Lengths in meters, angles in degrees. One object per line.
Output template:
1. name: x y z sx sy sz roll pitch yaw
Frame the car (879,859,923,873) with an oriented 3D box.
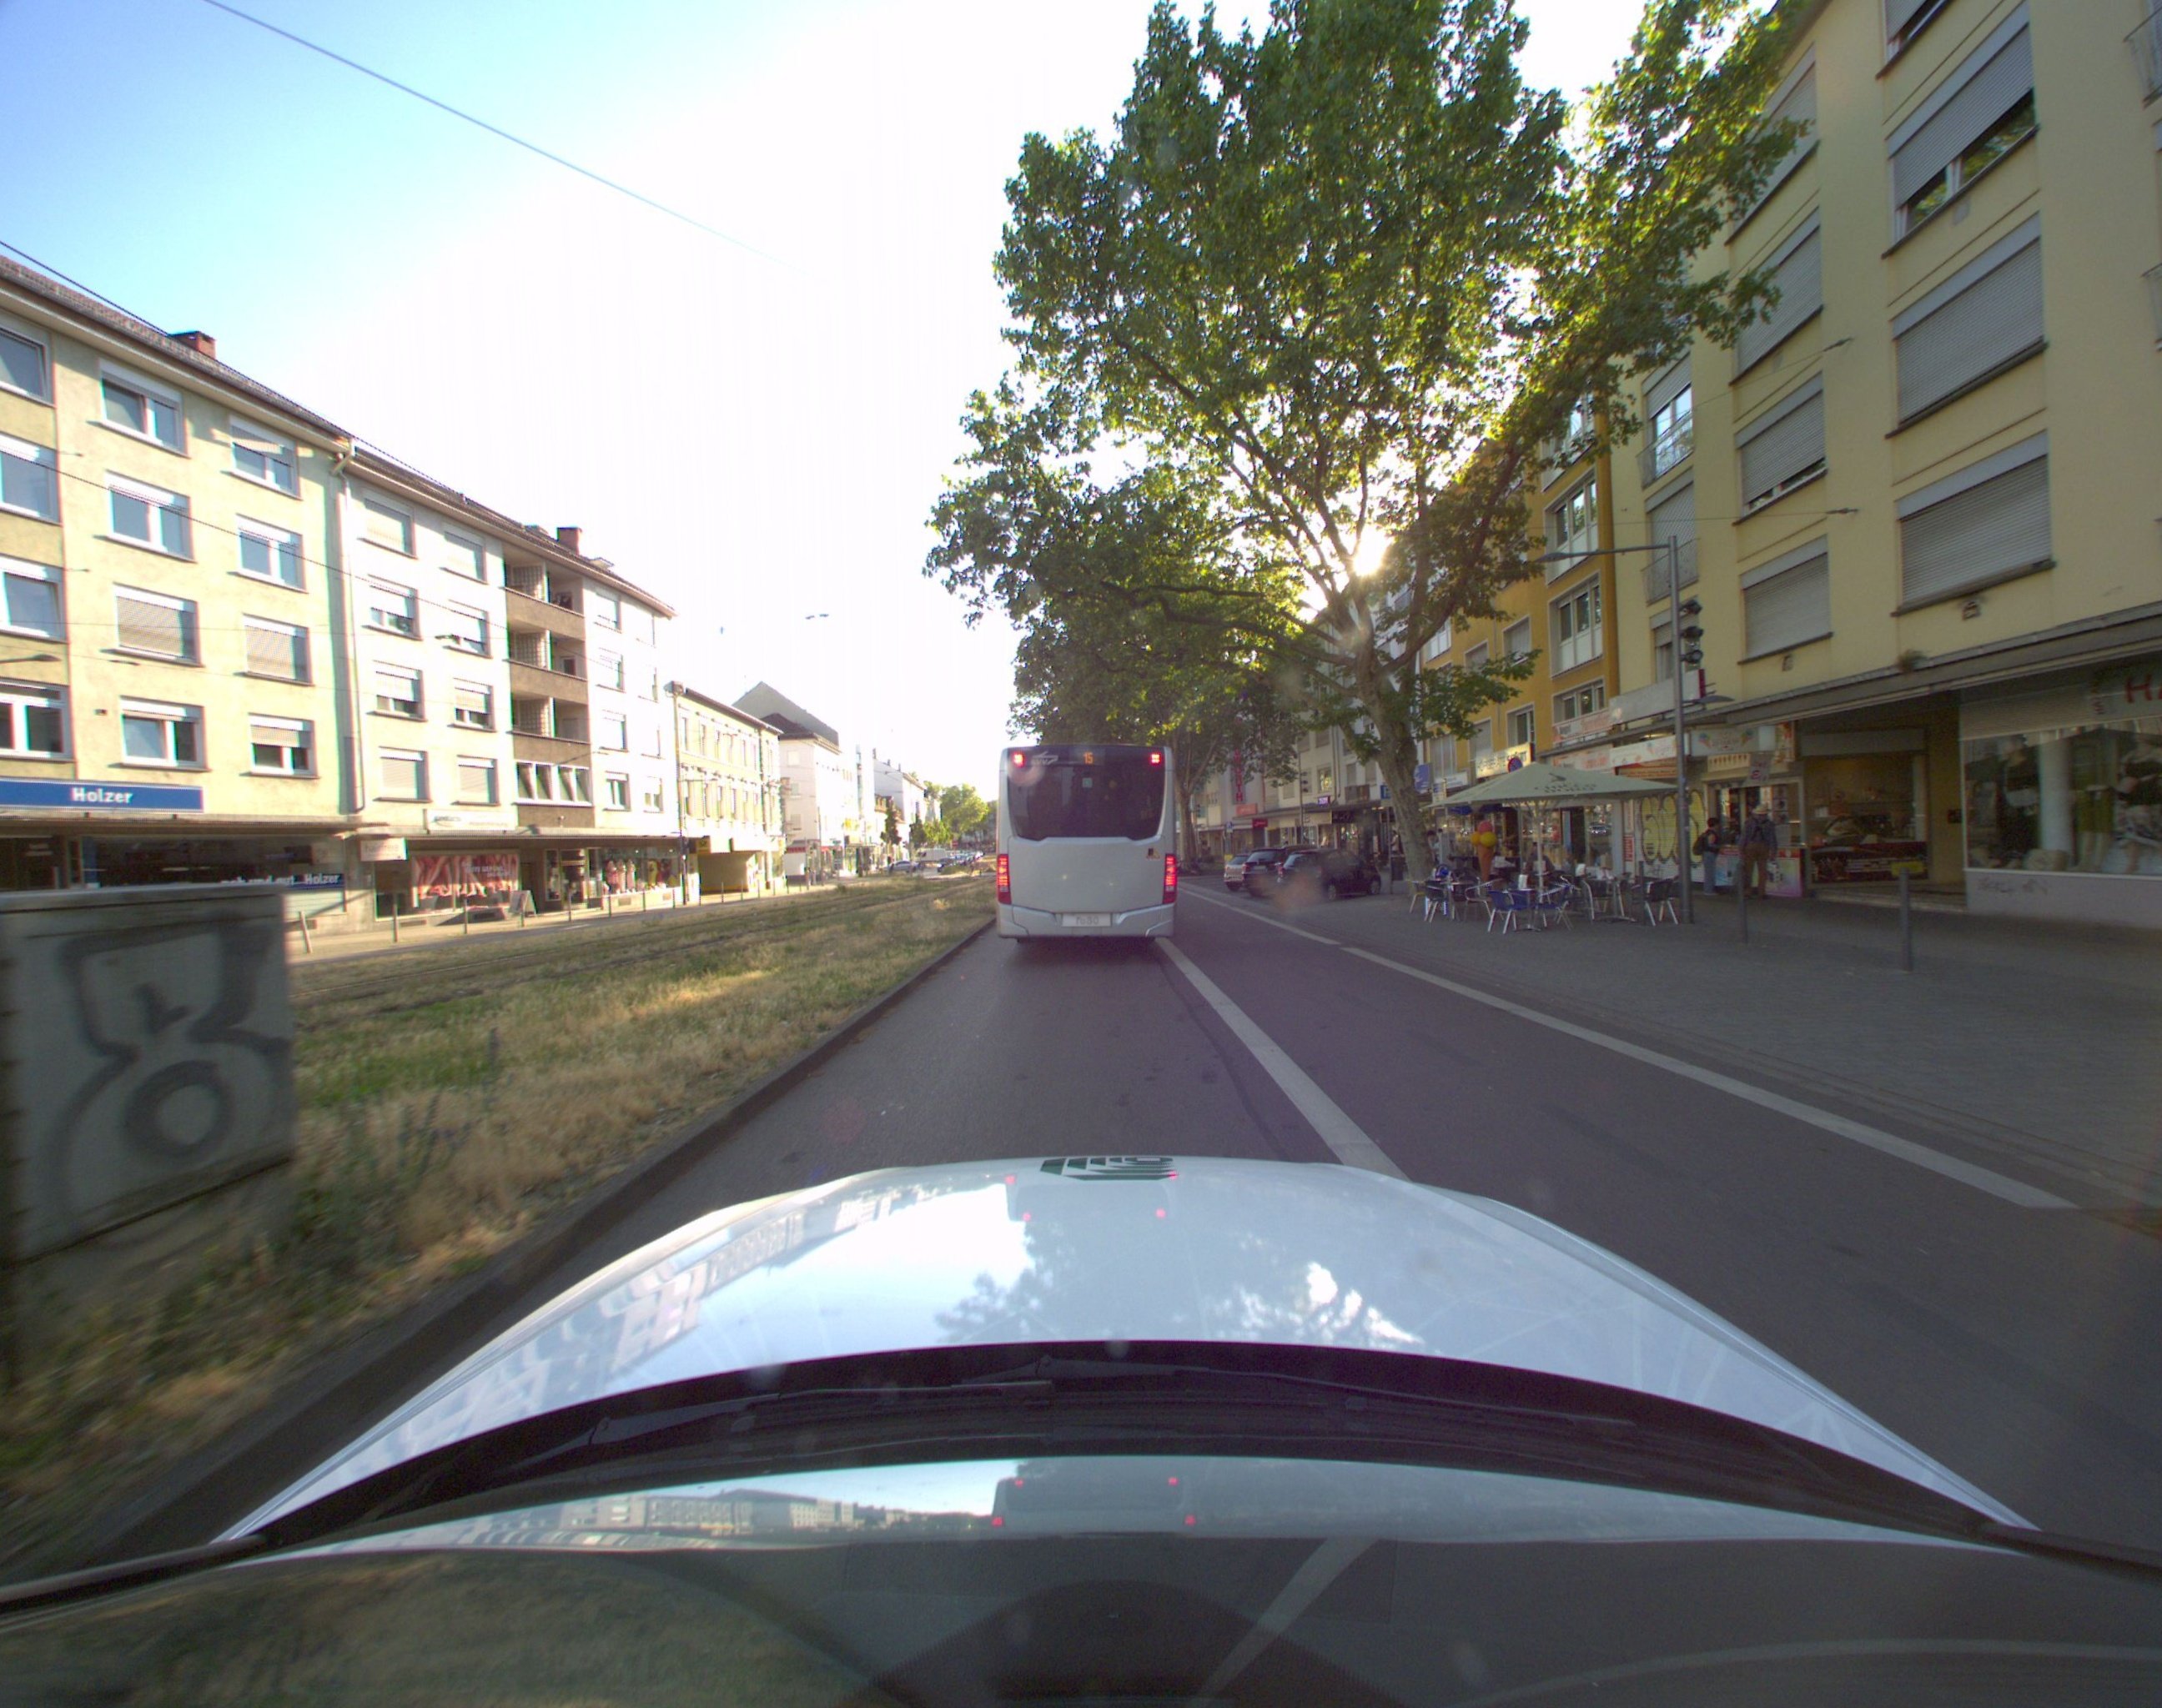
1. car: -20.680 1.368 93.589 4.573 1.412 1.978 -3 0 -37

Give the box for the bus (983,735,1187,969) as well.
1. bus: 0.120 -0.066 14.511 2.668 3.083 7.115 -1 1 1

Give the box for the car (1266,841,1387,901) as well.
1. car: 7.391 0.474 24.366 3.628 1.540 1.721 -3 0 -41

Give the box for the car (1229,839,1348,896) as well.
1. car: 7.062 0.419 27.519 4.173 1.681 1.788 -3 0 -41

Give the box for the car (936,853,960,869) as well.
1. car: -14.079 0.760 86.442 1.716 1.509 3.477 -5 0 1

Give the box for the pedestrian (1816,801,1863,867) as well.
1. pedestrian: 15.267 -0.401 16.394 0.424 1.296 0.508 -3 0 4

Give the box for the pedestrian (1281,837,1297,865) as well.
1. pedestrian: 13.632 -0.221 53.311 0.778 1.794 0.764 -3 0 0

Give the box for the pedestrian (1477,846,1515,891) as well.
1. pedestrian: 10.394 0.359 20.415 0.581 1.115 0.751 -1 0 0

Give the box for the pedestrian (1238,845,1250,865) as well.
1. pedestrian: 13.983 0.064 69.958 0.747 1.679 0.833 -3 2 -6

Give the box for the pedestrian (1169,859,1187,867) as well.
1. pedestrian: 7.207 0.666 60.294 1.251 0.589 0.482 -2 0 -2

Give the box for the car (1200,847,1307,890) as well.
1. car: 6.825 0.544 32.013 4.198 1.451 1.789 -3 0 -38

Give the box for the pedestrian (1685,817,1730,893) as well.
1. pedestrian: 13.163 0.026 17.127 0.618 1.546 0.641 -3 0 31

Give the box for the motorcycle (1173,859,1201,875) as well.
1. motorcycle: 6.413 0.773 49.341 1.567 0.892 0.544 -3 0 -3

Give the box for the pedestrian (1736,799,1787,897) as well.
1. pedestrian: 12.977 -0.111 15.548 0.629 1.804 0.631 -3 0 36

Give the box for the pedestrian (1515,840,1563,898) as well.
1. pedestrian: 10.149 0.326 18.062 0.603 1.225 0.745 -2 0 0

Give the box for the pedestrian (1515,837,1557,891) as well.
1. pedestrian: 10.979 0.229 19.679 0.581 1.275 0.759 -1 0 0

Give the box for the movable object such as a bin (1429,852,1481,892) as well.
1. movable object such as a bin: 9.938 0.462 21.642 0.930 1.023 0.834 -1 0 -21

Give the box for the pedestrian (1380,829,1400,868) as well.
1. pedestrian: 15.136 -0.263 39.869 0.639 1.876 0.826 -3 0 5

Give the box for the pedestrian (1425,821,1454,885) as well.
1. pedestrian: 10.556 -0.025 23.962 0.518 1.832 0.471 -3 0 -22

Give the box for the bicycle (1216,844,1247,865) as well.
1. bicycle: 9.716 0.028 52.518 1.865 1.189 0.713 -4 0 8

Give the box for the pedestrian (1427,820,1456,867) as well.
1. pedestrian: 14.506 -0.413 32.768 0.703 1.791 0.789 -6 0 6

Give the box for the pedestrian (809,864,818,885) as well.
1. pedestrian: -21.517 1.643 65.544 0.424 1.713 0.508 -3 0 4

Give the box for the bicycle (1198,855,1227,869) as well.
1. bicycle: 8.656 0.513 53.690 1.865 0.765 0.713 -3 3 8
